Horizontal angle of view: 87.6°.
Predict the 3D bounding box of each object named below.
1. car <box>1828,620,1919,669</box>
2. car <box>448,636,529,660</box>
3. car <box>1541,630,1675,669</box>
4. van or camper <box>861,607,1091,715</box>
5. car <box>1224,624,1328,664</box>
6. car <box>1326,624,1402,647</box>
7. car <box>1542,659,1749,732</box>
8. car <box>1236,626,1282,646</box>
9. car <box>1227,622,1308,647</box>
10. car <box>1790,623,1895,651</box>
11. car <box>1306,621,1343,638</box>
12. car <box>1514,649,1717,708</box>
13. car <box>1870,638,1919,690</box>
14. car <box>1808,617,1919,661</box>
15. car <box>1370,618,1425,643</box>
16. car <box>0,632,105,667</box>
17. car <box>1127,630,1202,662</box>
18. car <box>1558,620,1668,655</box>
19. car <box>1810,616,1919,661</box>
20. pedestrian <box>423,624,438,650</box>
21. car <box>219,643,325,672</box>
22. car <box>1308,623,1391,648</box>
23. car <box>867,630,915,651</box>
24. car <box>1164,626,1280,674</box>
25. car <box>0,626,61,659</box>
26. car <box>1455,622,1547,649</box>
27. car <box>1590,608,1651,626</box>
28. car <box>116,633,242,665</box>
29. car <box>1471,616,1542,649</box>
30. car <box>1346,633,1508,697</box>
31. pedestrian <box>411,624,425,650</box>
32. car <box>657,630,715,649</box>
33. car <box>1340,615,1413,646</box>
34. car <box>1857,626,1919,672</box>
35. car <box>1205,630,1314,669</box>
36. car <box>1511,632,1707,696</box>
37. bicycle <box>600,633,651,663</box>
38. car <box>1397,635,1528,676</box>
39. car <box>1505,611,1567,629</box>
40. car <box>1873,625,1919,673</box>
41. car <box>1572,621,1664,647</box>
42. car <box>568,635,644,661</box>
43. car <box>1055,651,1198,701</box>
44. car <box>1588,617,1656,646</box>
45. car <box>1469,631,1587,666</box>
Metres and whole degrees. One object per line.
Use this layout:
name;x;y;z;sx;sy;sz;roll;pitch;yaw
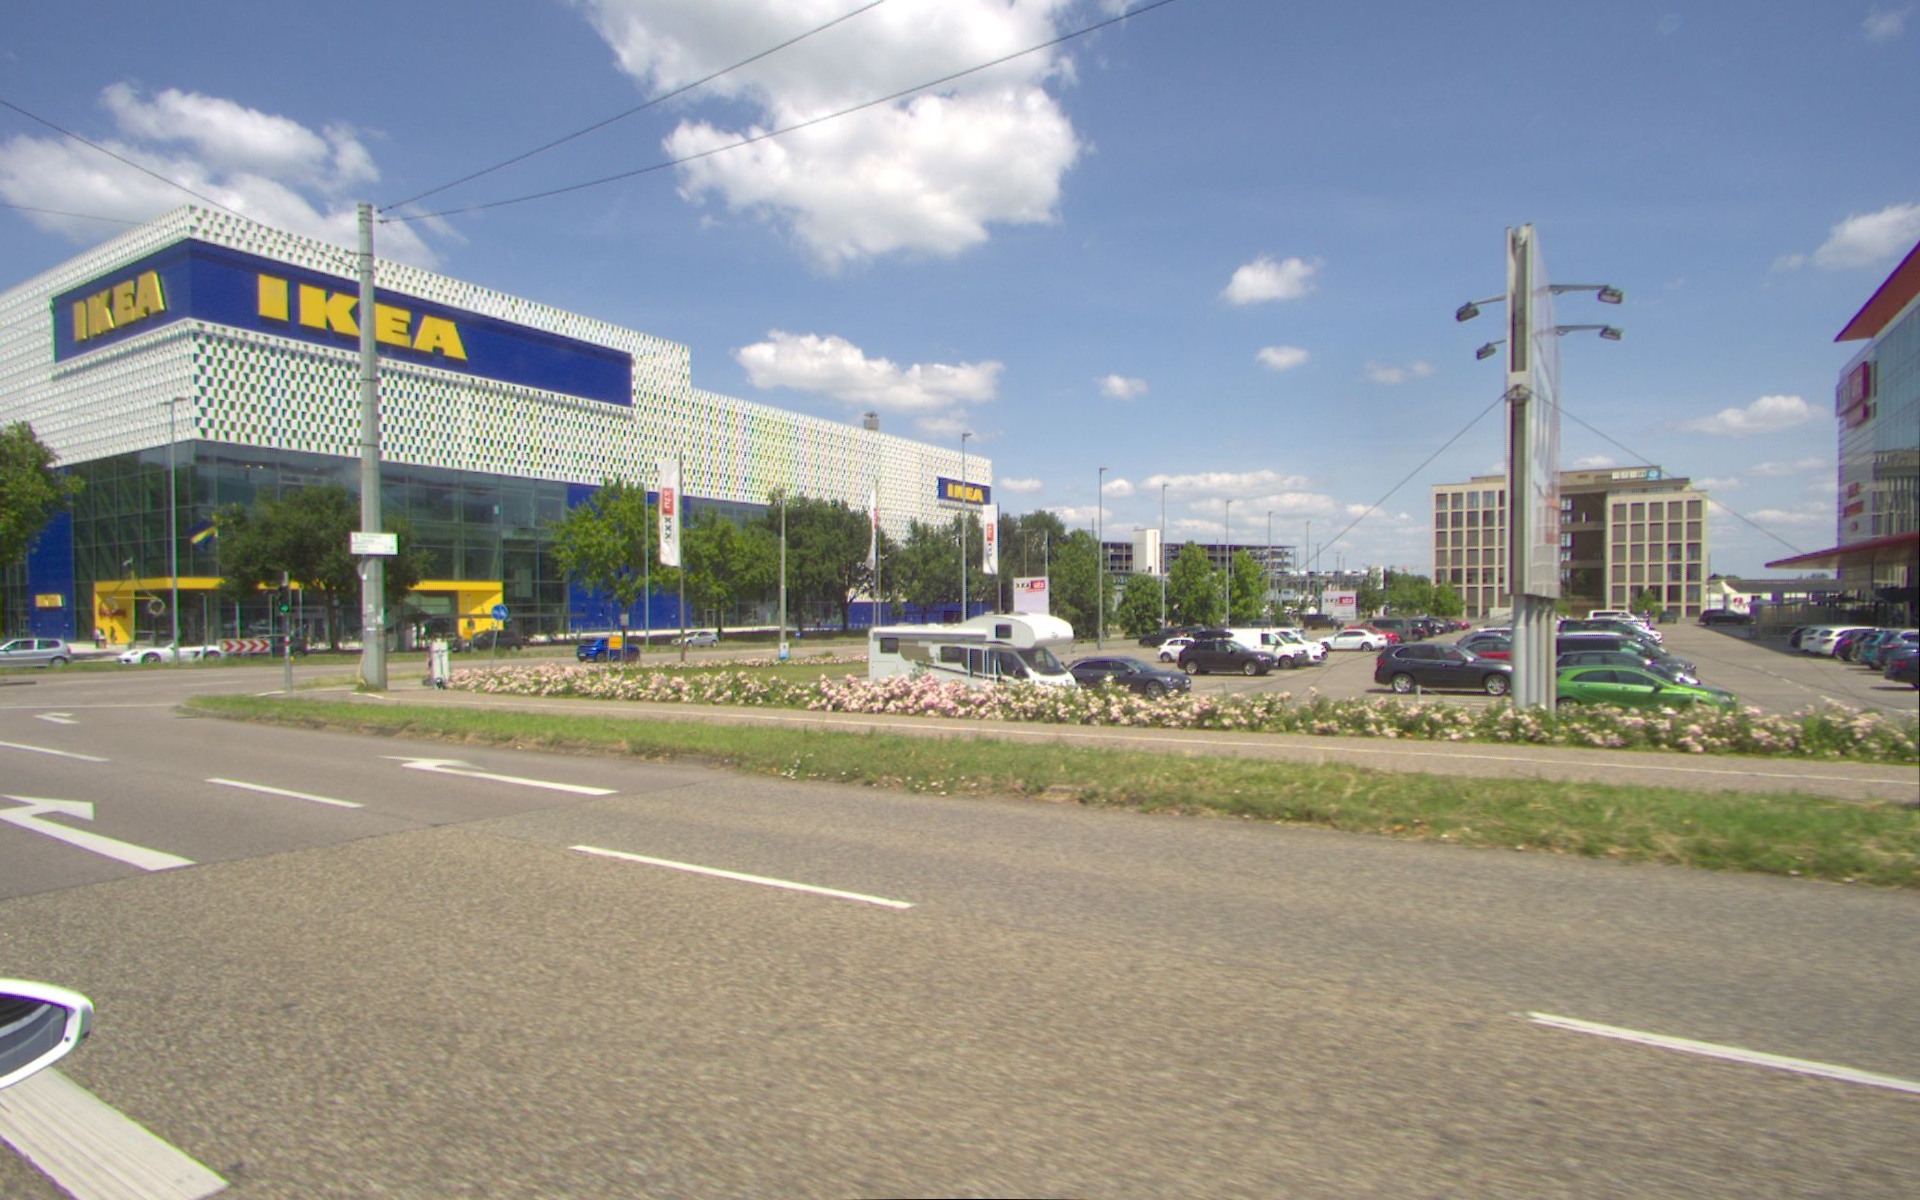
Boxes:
car;39.740;1.882;42.607;3.943;2.039;1.990;-1;-1;32
car;-31.215;3.207;66.380;1.974;1.504;4.486;-1;-3;35
car;28.866;2.187;44.788;4.930;1.671;1.990;-1;-2;33
van or camper;0.375;1.821;31.518;7.129;3.058;2.500;-1;-2;36
car;16.676;2.303;52.876;4.930;2.033;1.990;-1;-2;33
car;29.681;2.584;73.690;4.930;1.631;1.990;-1;-2;33
car;17.494;2.382;25.807;4.242;1.517;1.988;-1;2;33
car;29.097;3.486;97.470;3.943;1.863;1.819;-1;-1;32
car;20.698;2.340;67.458;4.922;1.631;1.993;-1;-2;27
car;47.606;1.986;54.145;3.943;1.505;1.990;-1;-2;32
car;44.669;3.626;122.776;4.069;2.039;1.479;-1;-1;32
car;19.470;2.286;29.978;4.930;1.570;1.990;-1;-2;33
car;32.292;2.043;31.651;4.930;1.631;1.990;-1;-2;33
car;44.407;1.903;49.159;3.943;2.039;1.990;-1;-1;32
car;36.476;2.558;83.538;3.943;2.039;1.990;-1;-1;32
car;-41.197;2.183;44.554;1.974;1.504;4.486;-1;-3;35
car;12.071;2.714;59.106;3.936;1.839;1.993;-1;-1;26
car;36.912;2.117;56.825;5.106;1.889;1.991;-1;-2;31
car;42.756;1.815;47.114;3.943;2.039;1.990;-1;-2;32
pedestrian;-42.419;2.980;80.207;0.813;2.039;0.709;-1;-1;34
car;-38.272;3.165;55.792;1.974;1.505;4.485;-1;-2;35
car;26.119;2.396;67.213;4.930;1.631;1.990;-1;-2;33
car;-5.297;3.075;77.292;1.741;1.546;4.080;-1;-1;31
car;12.226;2.301;46.821;4.930;2.162;1.990;-1;-2;33
car;-44.238;1.948;46.185;1.974;1.504;3.779;-1;-3;35
car;33.793;2.229;62.587;4.930;1.631;1.990;-1;-2;33
car;64.323;1.666;97.598;4.930;1.631;1.990;-1;-2;33
car;-38.249;2.391;49.134;1.974;1.504;4.486;-1;-3;35
car;35.233;2.091;64.598;3.943;2.039;1.990;-1;-2;32
car;16.313;2.194;35.044;4.930;2.040;1.989;-1;0;33
pedestrian;-42.885;2.942;79.196;0.813;2.039;0.709;-1;-1;34
car;-23.065;3.364;84.464;1.974;1.504;4.486;-1;-3;35
car;32.331;2.358;77.779;4.930;2.333;1.990;-1;-2;33
car;39.031;1.985;40.149;4.271;1.804;1.991;-1;-3;33
car;15.166;2.459;50.779;4.930;1.876;1.990;-1;-2;33
car;21.925;2.096;34.105;5.456;2.039;1.990;-1;-2;33
bicycle;-17.502;2.491;52.420;0.976;1.500;2.415;-1;-2;36
car;21.763;2.347;43.450;4.930;1.632;1.989;-1;0;33
car;53.396;1.896;92.865;4.930;1.631;1.990;-1;-2;33
car;37.442;1.855;37.645;4.271;1.804;1.991;-1;-3;33
car;42.631;2.185;65.030;4.930;1.631;1.990;-1;-2;33
car;-21.313;2.894;60.396;1.820;1.473;3.974;-1;-3;37
car;5.988;2.691;36.108;4.702;1.557;1.989;-1;0;33
car;47.459;2.242;71.876;3.943;2.039;1.990;-1;-1;32
car;27.736;2.331;49.005;4.928;1.631;1.991;-1;-2;31
